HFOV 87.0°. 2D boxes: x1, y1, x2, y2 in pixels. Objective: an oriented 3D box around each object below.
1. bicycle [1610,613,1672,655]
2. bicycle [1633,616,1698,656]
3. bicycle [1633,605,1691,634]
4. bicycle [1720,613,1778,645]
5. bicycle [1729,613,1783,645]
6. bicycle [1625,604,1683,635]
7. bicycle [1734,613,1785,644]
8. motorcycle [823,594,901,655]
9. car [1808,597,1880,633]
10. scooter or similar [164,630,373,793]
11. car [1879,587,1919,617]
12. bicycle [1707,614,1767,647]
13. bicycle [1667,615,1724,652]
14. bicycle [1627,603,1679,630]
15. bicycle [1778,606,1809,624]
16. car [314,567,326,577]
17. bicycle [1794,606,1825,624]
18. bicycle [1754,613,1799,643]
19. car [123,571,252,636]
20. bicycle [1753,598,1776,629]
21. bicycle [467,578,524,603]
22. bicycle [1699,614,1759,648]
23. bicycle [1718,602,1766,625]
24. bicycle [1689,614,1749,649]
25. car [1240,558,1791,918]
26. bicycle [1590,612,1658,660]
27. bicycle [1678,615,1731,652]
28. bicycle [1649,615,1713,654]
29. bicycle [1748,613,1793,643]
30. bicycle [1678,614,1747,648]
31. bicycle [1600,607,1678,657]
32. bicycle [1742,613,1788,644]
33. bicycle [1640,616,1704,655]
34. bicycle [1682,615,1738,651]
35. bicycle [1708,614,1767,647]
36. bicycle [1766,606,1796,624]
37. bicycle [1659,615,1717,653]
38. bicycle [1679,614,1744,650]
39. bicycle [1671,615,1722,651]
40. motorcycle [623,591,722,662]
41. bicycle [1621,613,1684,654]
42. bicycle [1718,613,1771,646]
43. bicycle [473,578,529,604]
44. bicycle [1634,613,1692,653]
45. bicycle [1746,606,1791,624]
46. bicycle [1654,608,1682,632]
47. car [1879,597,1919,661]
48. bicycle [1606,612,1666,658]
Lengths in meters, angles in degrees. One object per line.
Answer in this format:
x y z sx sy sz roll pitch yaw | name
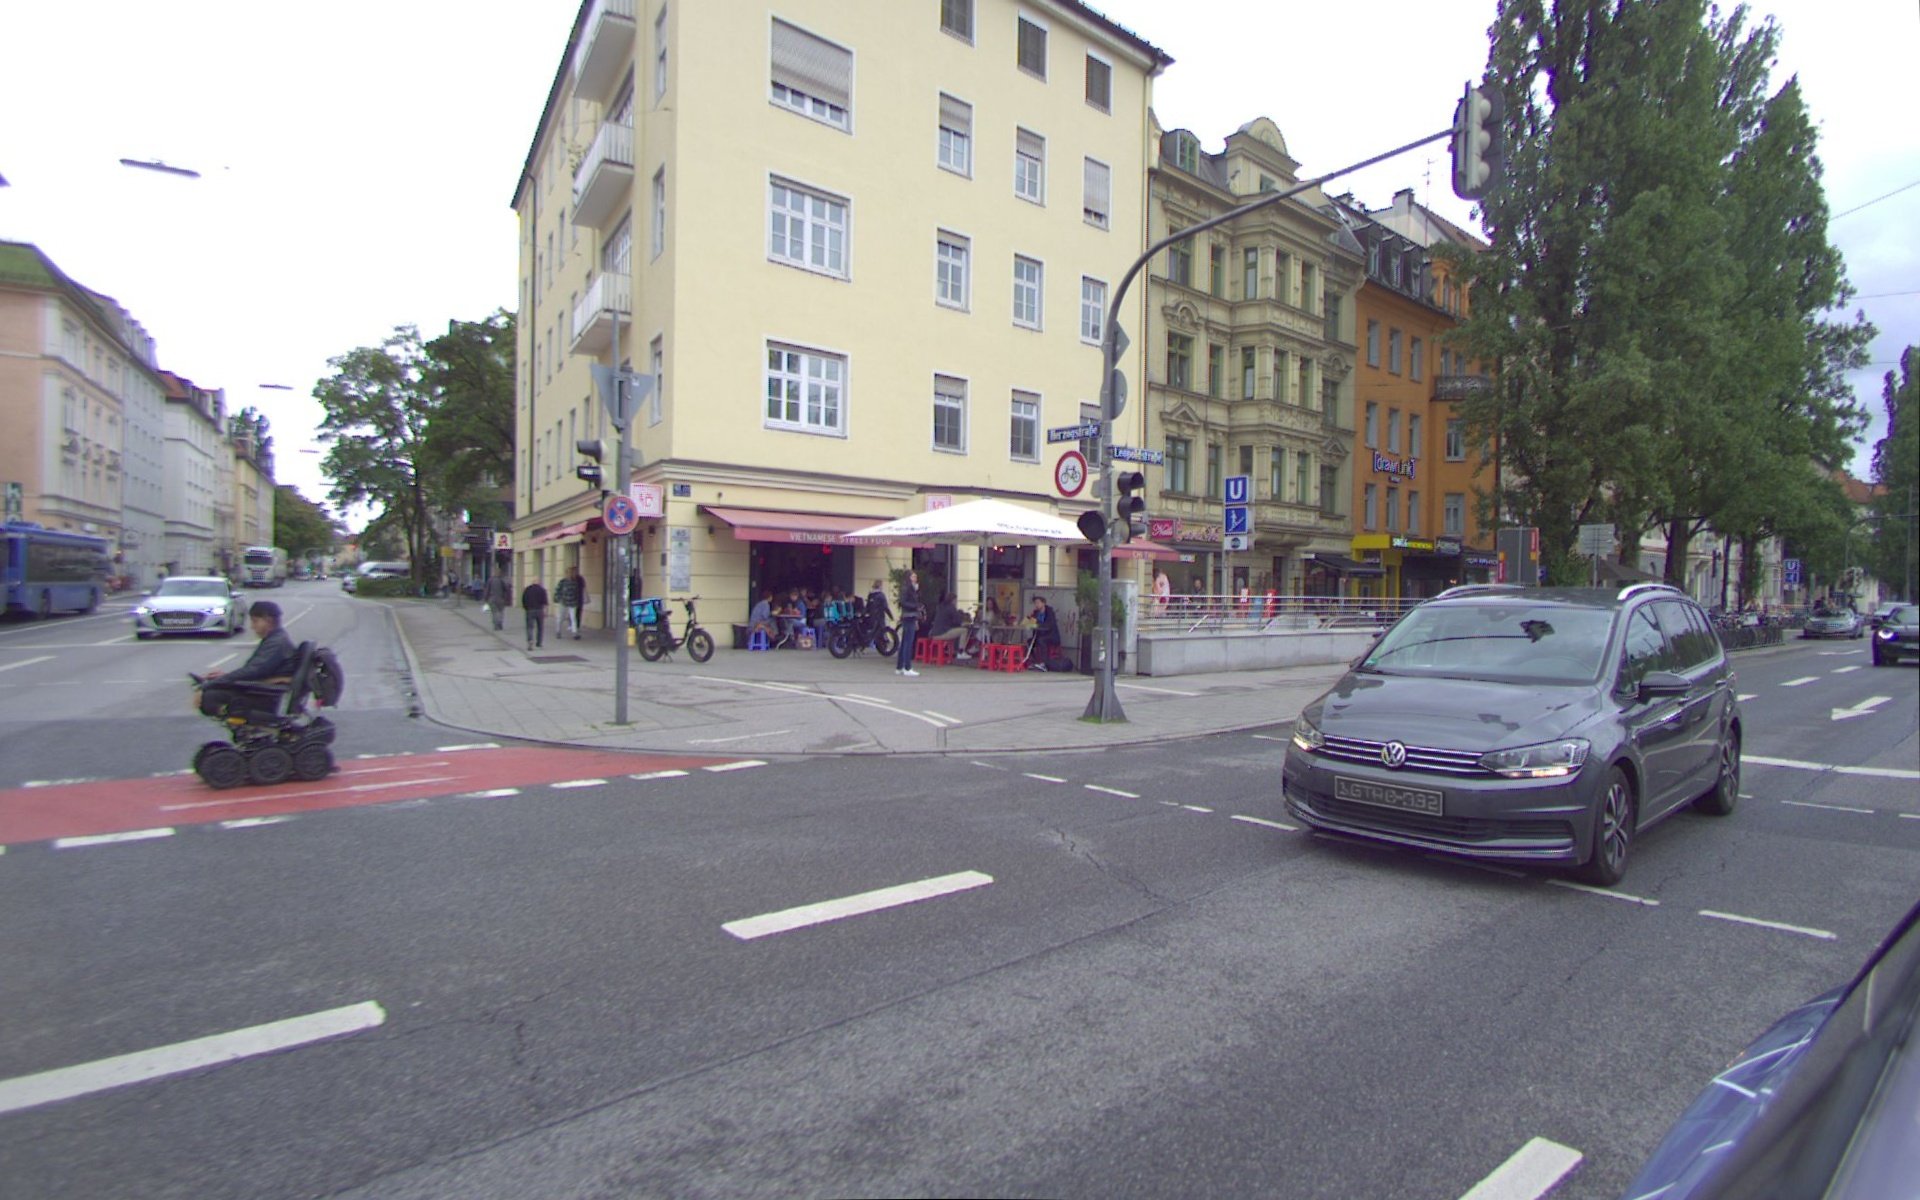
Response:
17.398 0.850 25.903 0.319 1.008 1.842 1 -1 -1 | bicycle
18.759 0.937 26.945 0.319 1.008 1.843 1 -1 -4 | bicycle
28.452 0.781 41.057 0.450 1.067 1.892 0 1 -39 | bicycle
25.880 0.950 33.225 0.368 1.008 1.843 1 -1 -3 | bicycle
26.422 0.950 33.621 0.368 1.008 1.841 1 -1 1 | bicycle
28.831 0.789 42.051 0.571 1.188 1.892 0 1 -39 | bicycle
26.950 0.951 34.136 0.368 1.008 1.840 1 -1 4 | bicycle
-1.946 0.470 20.169 1.543 1.171 0.487 0 1 -41 | motorcycle
39.096 0.635 44.723 4.453 1.458 1.996 0 1 -43 | car
-5.341 0.809 7.833 1.235 1.088 0.776 0 1 -43 | scooter or similar
55.686 0.135 59.672 4.425 1.681 1.735 0 1 -42 | car
24.448 0.946 31.879 0.368 1.008 1.843 1 -1 -4 | bicycle
20.814 0.940 28.677 0.319 1.008 1.841 1 -1 1 | bicycle
31.555 0.738 46.089 0.450 1.127 1.890 0 1 -43 | bicycle
49.358 0.889 59.939 1.801 1.036 0.447 0 0 -14 | bicycle
-126.338 -5.578 199.796 1.960 1.905 4.005 1 1 -30 | car
49.853 0.873 59.382 1.801 1.036 0.447 0 0 -14 | bicycle
28.560 0.952 35.426 0.369 1.008 1.836 1 -1 10 | bicycle
-18.577 0.035 24.523 1.856 1.440 4.006 1 1 -28 | car
34.918 0.575 43.909 1.747 1.304 0.424 0 1 -40 | bicycle
-22.665 -0.458 49.420 2.429 1.204 0.757 1 0 -14 | bicycle
23.860 0.946 31.438 0.368 1.008 1.843 1 -1 -4 | bicycle
38.657 0.696 50.053 0.439 1.124 1.801 1 -2 -38 | bicycle
22.821 0.943 30.462 0.319 1.008 1.843 1 -1 -4 | bicycle
4.001 0.638 6.879 4.625 1.668 1.775 0 0 -41 | car
15.901 0.845 24.280 0.341 1.008 1.843 1 2 -1 | bicycle
21.211 0.939 28.879 0.319 1.008 1.839 1 -1 6 | bicycle
19.783 0.939 27.821 0.319 1.008 1.843 1 -1 -4 | bicycle
28.057 0.952 35.047 0.369 1.008 1.836 1 -1 10 | bicycle
23.218 0.945 31.262 0.367 1.008 1.846 2 -1 -17 | bicycle
16.937 0.777 25.302 0.457 1.126 1.845 1 1 -8 | bicycle
27.479 0.951 34.568 0.369 1.008 1.836 1 -1 10 | bicycle
19.298 0.939 27.478 0.319 1.008 1.843 1 -1 -4 | bicycle
21.915 0.941 29.609 0.319 1.008 1.841 1 -1 1 | bicycle
24.847 0.949 32.377 0.368 1.008 1.843 1 -1 -4 | bicycle
49.022 0.885 60.455 1.801 1.036 0.393 0 0 -14 | bicycle
20.320 0.939 28.268 0.319 1.008 1.841 1 -1 1 | bicycle
22.332 0.943 30.106 0.318 1.008 1.845 1 -1 -9 | bicycle
21.531 0.944 29.619 0.319 1.008 1.838 1 -1 6 | bicycle
-5.211 0.464 18.344 1.745 1.215 0.538 1 1 20 | motorcycle
17.897 0.849 26.189 0.319 1.008 1.842 1 -1 -1 | bicycle
25.417 0.949 32.825 0.368 1.008 1.840 1 -1 3 | bicycle
-22.795 -0.444 50.318 2.429 1.257 0.757 1 0 -14 | bicycle
18.449 0.849 26.590 0.319 1.008 1.840 1 -1 3 | bicycle
42.837 0.806 53.619 0.385 0.928 1.837 0 0 -39 | bicycle
27.309 0.754 39.030 1.861 0.903 0.457 0 1 -42 | bicycle
24.694 0.695 25.564 3.901 1.523 1.778 0 1 -41 | car
16.500 0.845 24.749 0.319 1.008 1.841 1 1 3 | bicycle
